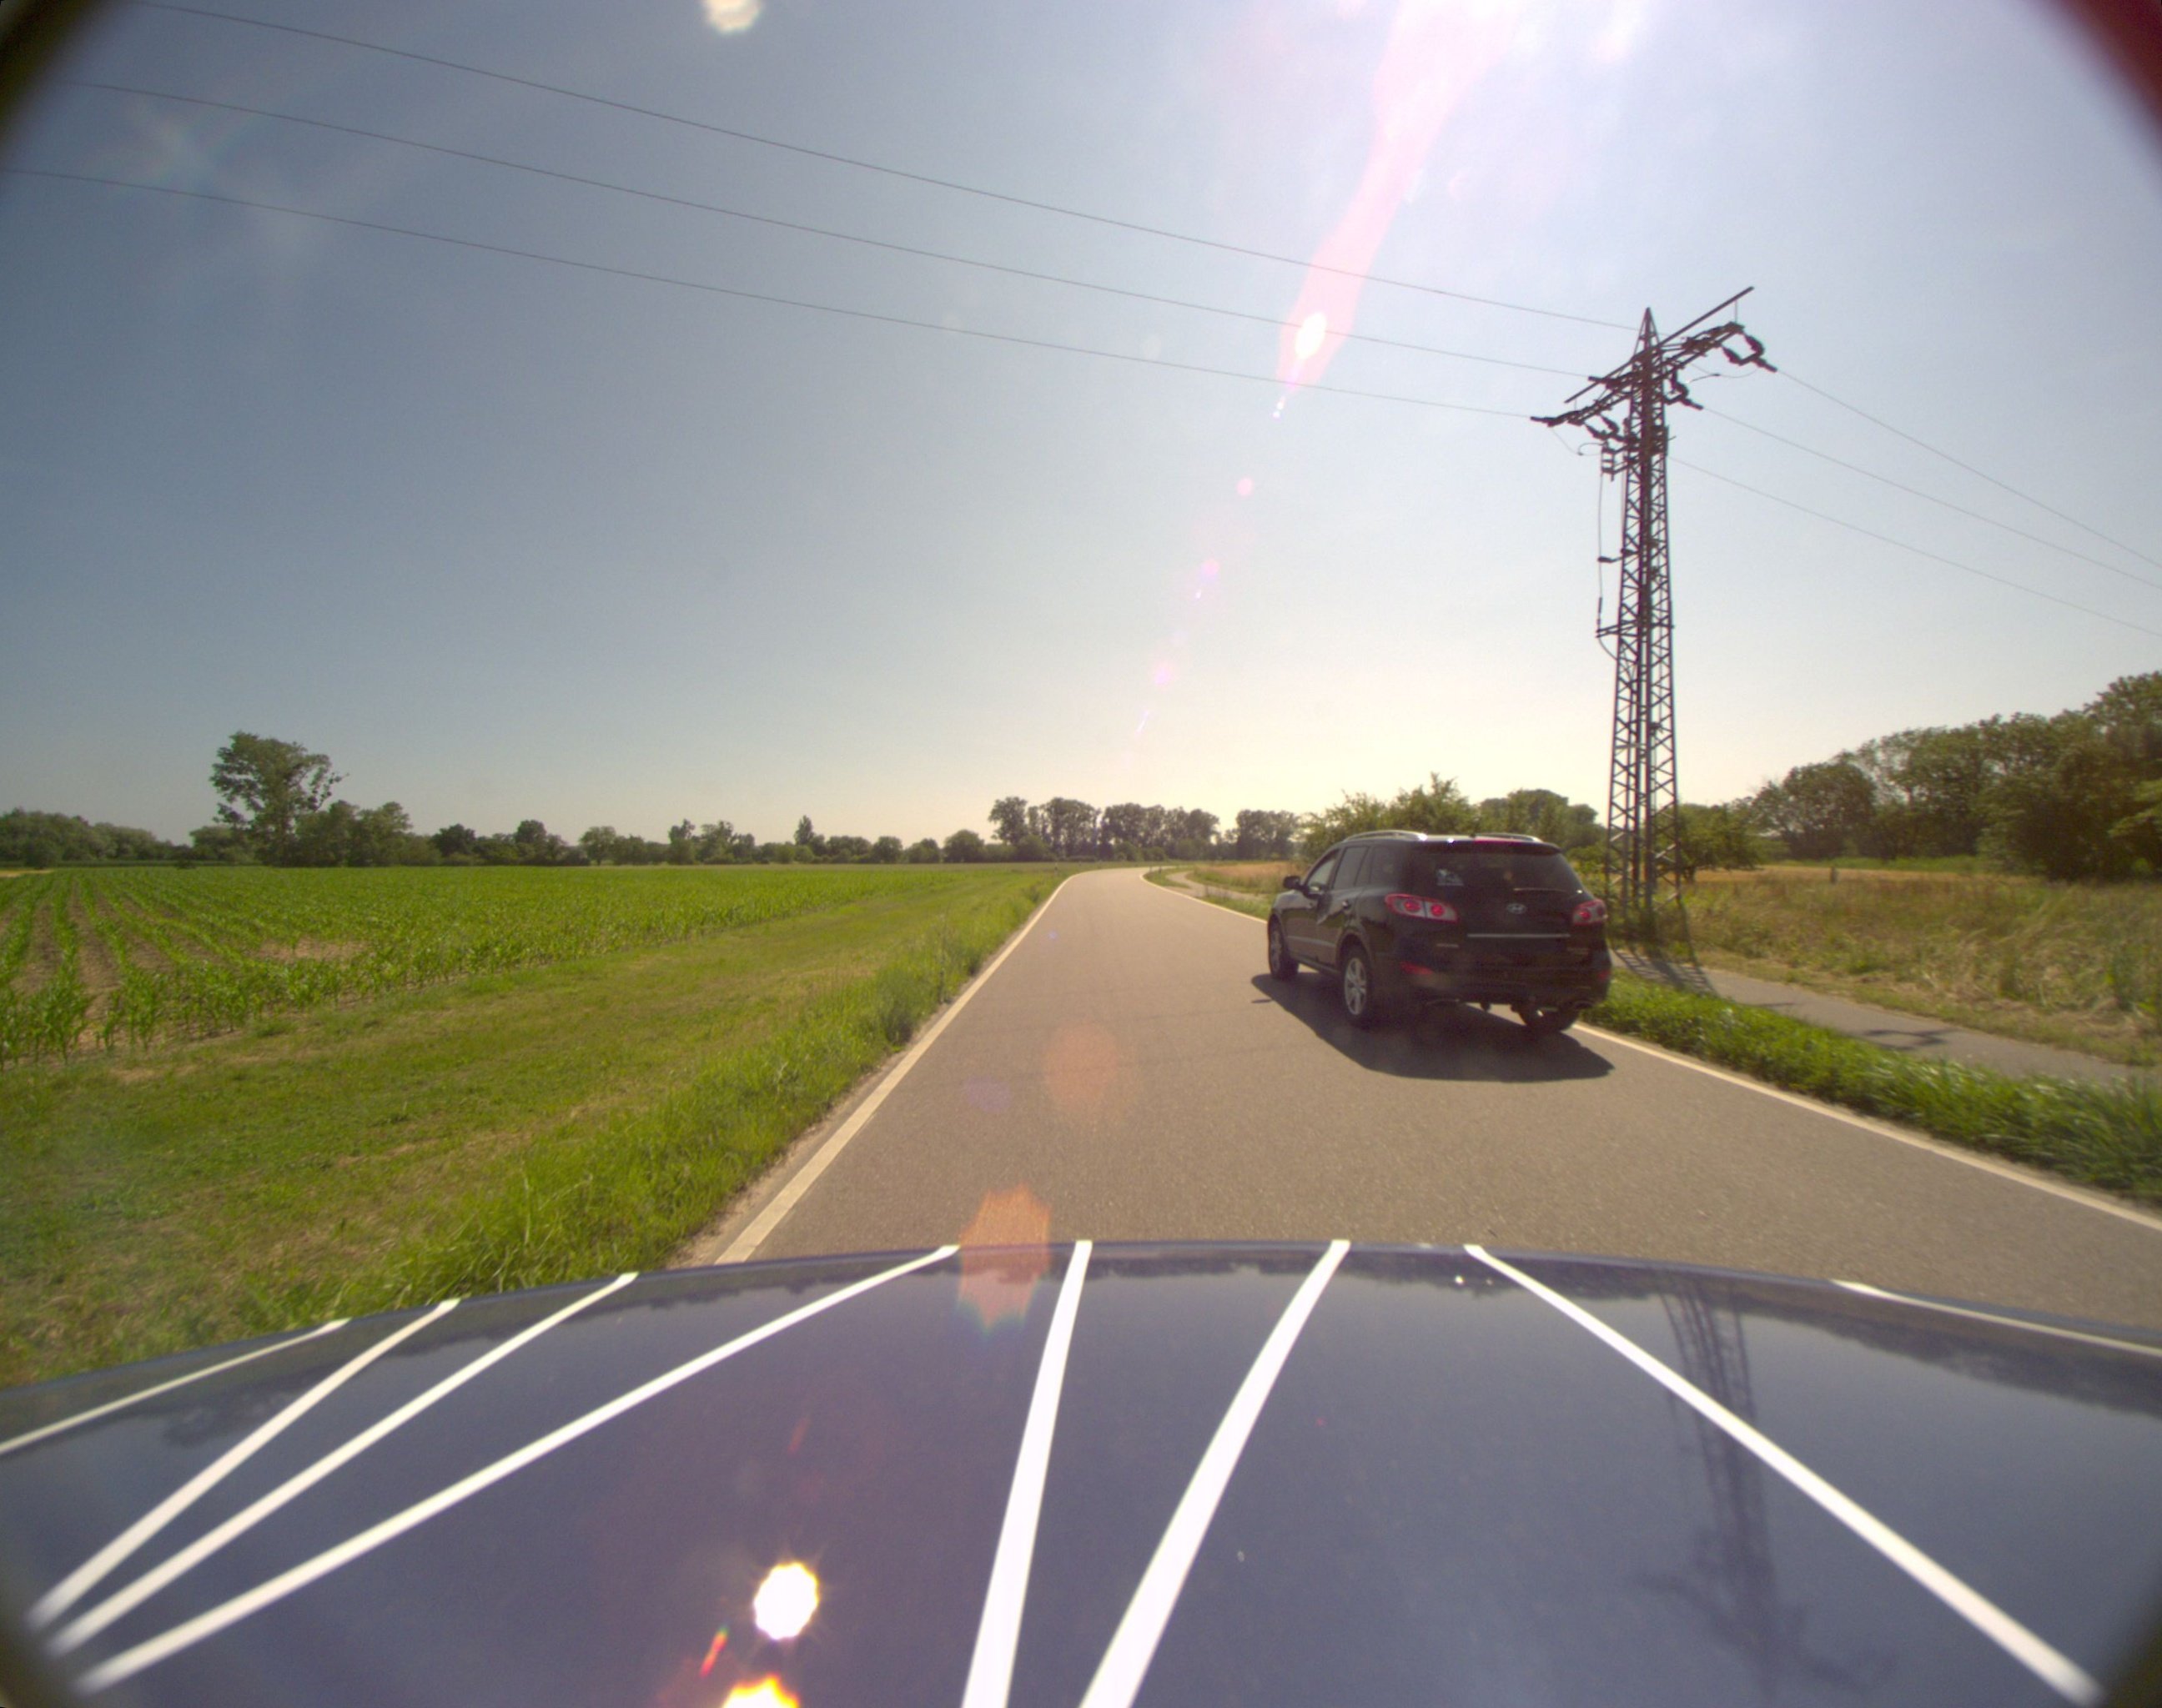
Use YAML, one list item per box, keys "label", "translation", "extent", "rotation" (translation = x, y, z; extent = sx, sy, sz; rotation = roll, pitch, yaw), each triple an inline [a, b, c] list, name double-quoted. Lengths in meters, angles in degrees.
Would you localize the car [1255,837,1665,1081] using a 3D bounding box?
- label: "car"
  translation: [3.267, 0.775, 7.697]
  extent: [1.871, 1.742, 4.296]
  rotation: [2, 0, -2]
